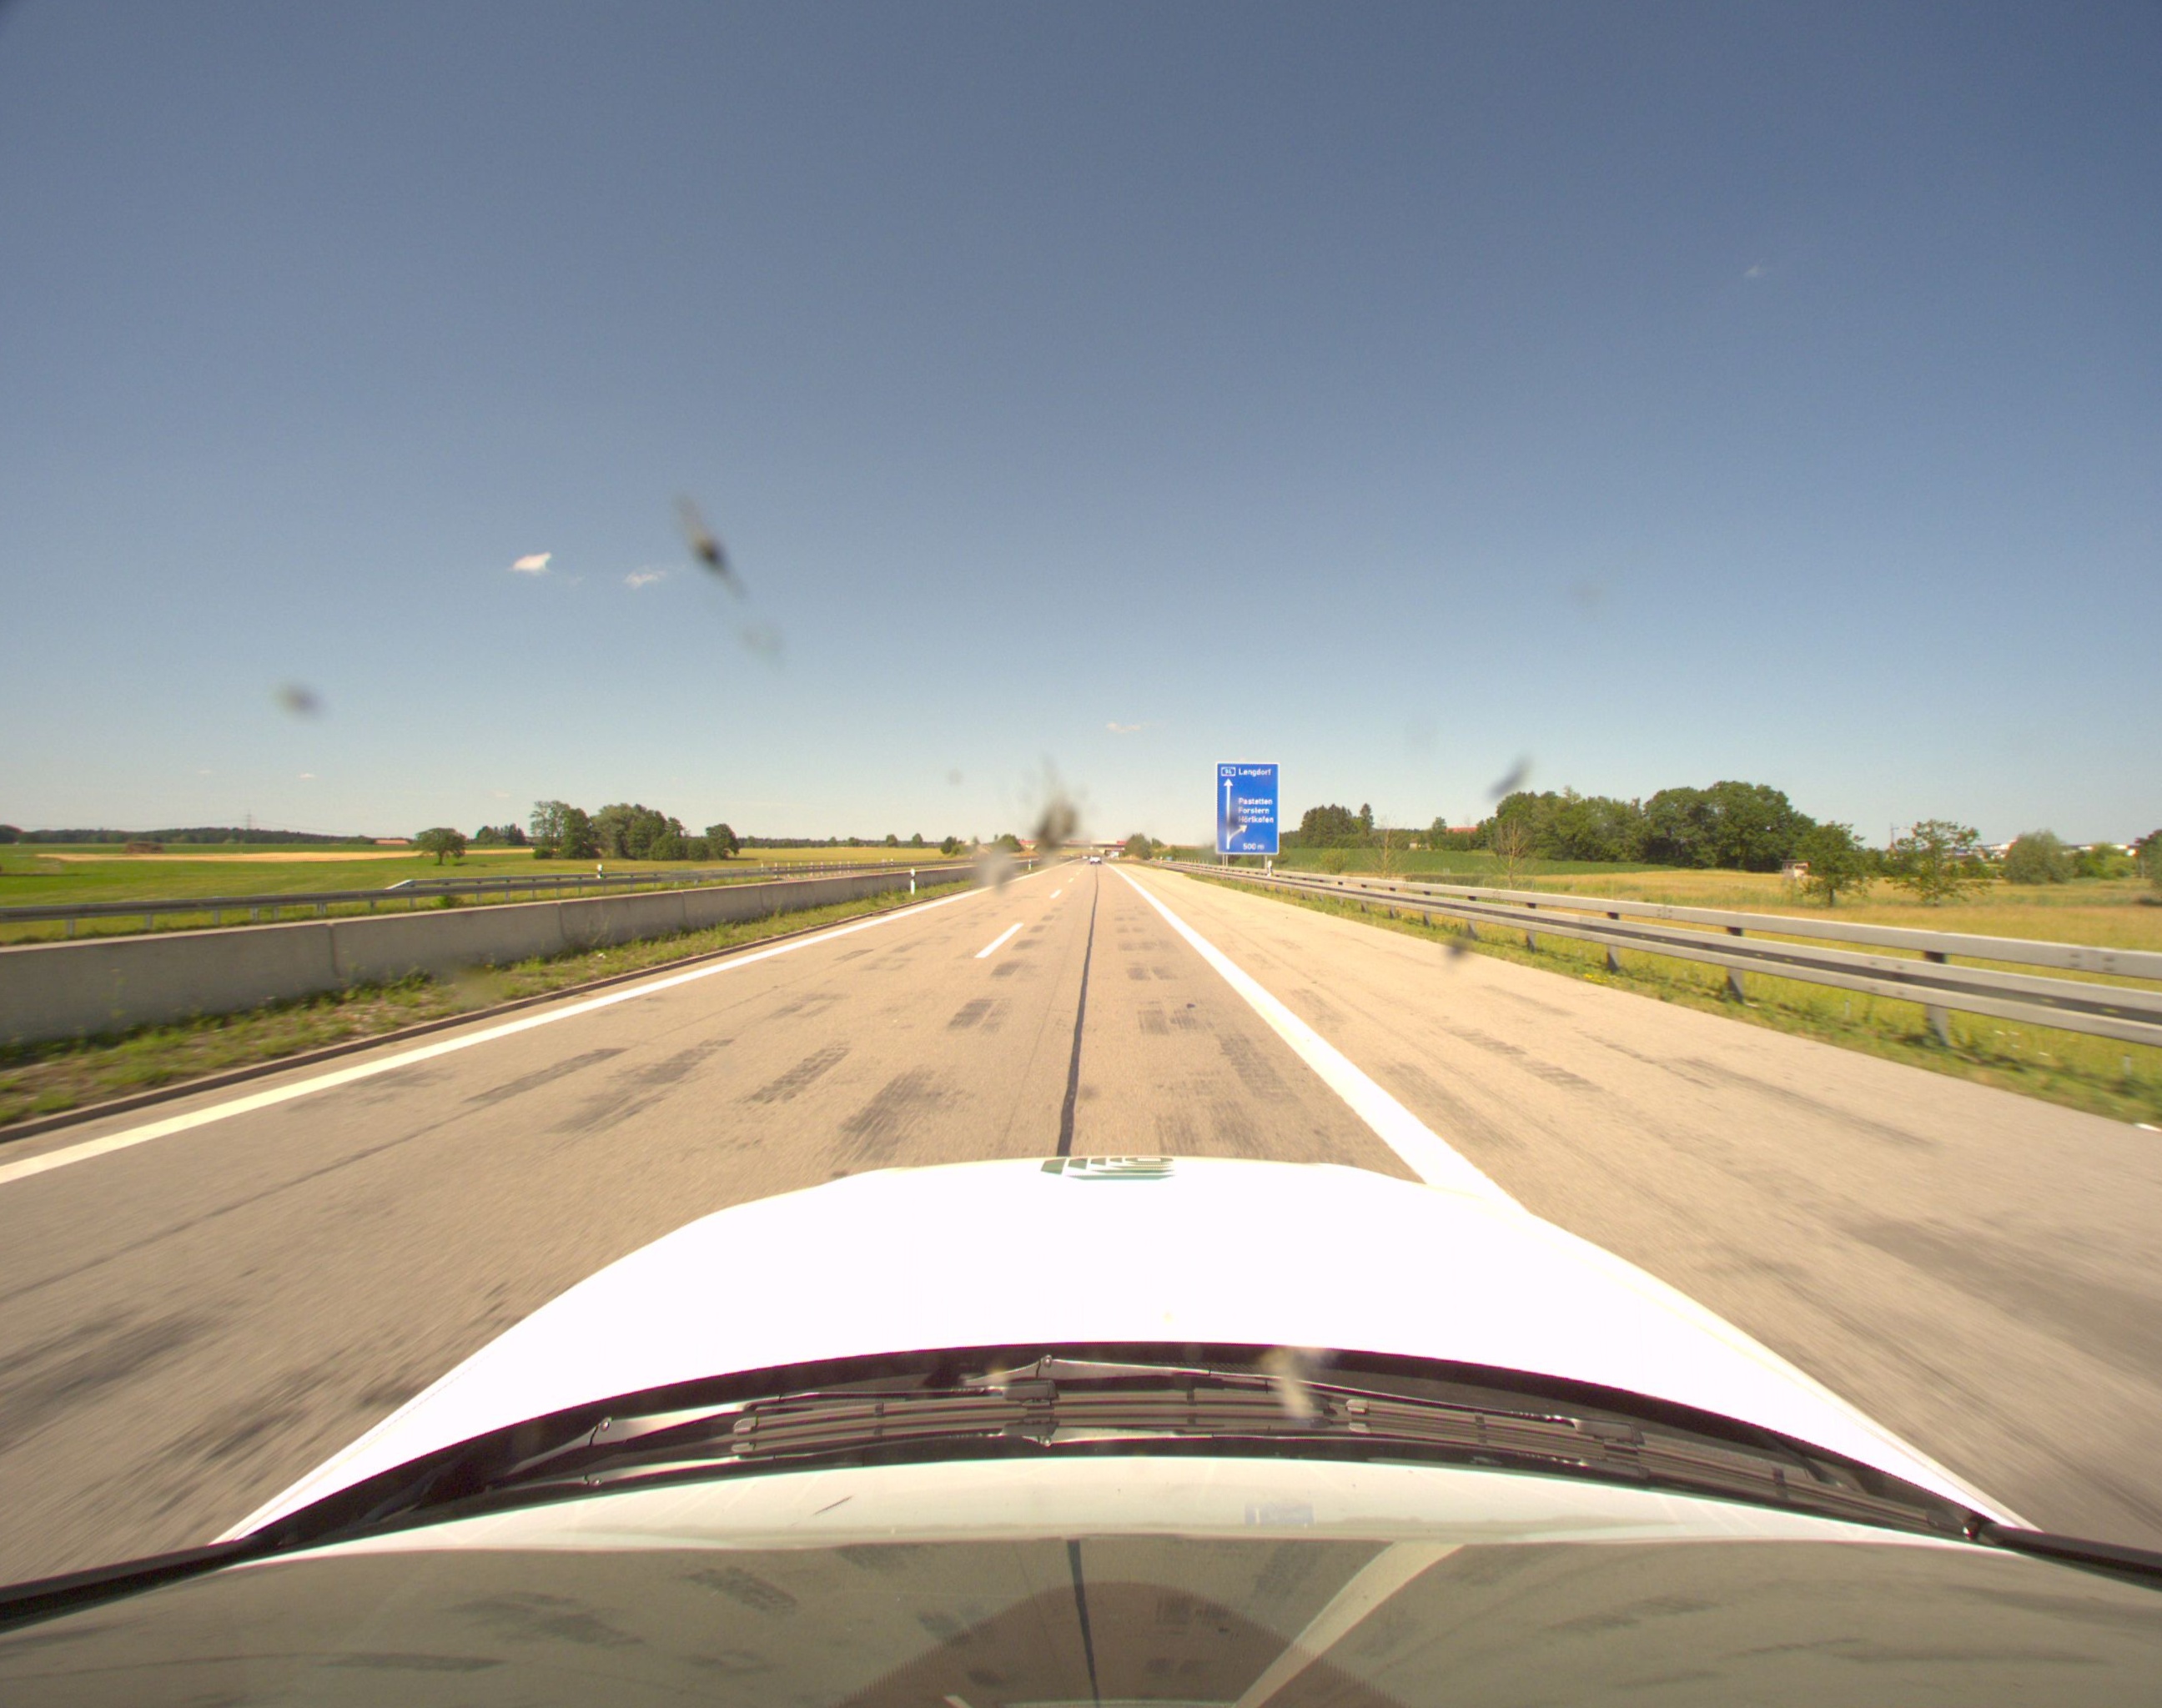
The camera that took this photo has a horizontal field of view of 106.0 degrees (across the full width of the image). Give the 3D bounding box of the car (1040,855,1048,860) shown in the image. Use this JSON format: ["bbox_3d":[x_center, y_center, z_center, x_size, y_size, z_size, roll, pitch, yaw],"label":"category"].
[{"bbox_3d":[-10.343,0.979,225.584,1.891,1.523,4.806,-2,0,1],"label":"car"}]

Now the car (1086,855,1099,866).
[{"bbox_3d":[1.807,0.993,131.603,1.987,1.731,4.867,0,0,-1],"label":"car"}]
